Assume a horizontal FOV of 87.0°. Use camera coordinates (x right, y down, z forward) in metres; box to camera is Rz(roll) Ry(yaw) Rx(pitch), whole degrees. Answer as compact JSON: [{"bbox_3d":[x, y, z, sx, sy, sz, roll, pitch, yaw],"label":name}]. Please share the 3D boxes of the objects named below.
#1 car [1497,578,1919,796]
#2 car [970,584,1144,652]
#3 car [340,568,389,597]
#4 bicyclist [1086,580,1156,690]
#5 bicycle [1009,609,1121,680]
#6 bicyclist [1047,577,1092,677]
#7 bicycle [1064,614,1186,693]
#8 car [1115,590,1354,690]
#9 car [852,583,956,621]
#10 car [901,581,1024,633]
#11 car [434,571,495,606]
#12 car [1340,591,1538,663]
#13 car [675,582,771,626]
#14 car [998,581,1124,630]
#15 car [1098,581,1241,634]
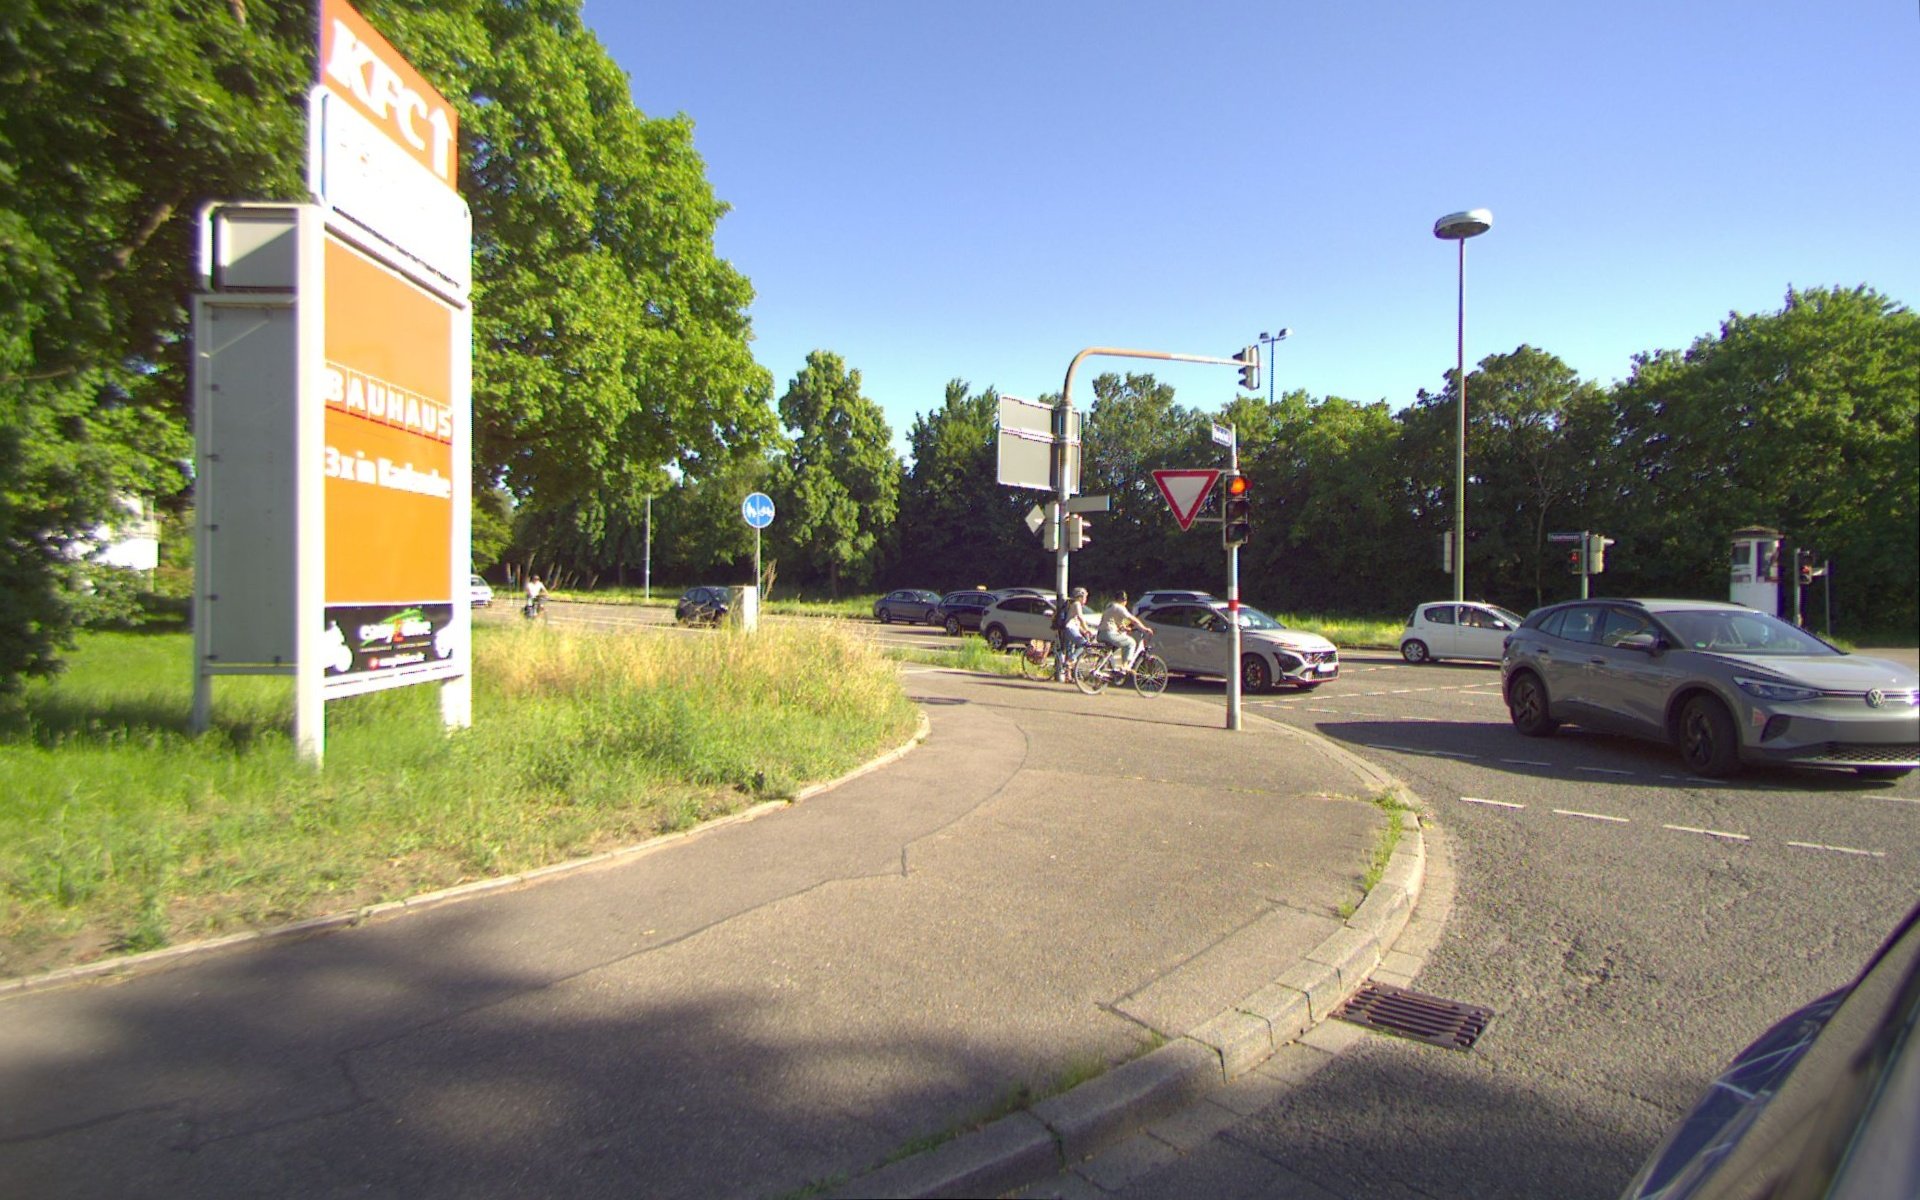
[{"bbox_3d":[7.705,0.668,10.454,1.956,1.660,4.367,0,3,0],"label":"car"},{"bbox_3d":[2.457,0.391,26.458,1.890,1.504,4.354,-3,4,-44],"label":"car"},{"bbox_3d":[-40.114,-1.207,68.167,3.900,1.820,1.813,2,3,44],"label":"car"},{"bbox_3d":[2.564,0.554,16.152,0.791,1.655,0.544,5,1,-24],"label":"bicyclist"},{"bbox_3d":[1.861,0.784,17.979,1.832,1.089,0.532,4,2,-6],"label":"bicycle"},{"bbox_3d":[1.936,0.466,17.982,0.574,1.717,0.528,4,2,-6],"label":"bicyclist"},{"bbox_3d":[2.626,0.855,16.073,1.831,1.089,0.532,5,1,-22],"label":"bicycle"},{"bbox_3d":[4.926,0.643,18.669,1.661,1.593,4.120,-2,1,-36],"label":"car"},{"bbox_3d":[-2.345,0.055,41.457,4.342,1.422,1.808,2,1,44],"label":"car"},{"bbox_3d":[0.051,0.200,34.103,3.977,1.559,1.603,2,3,37],"label":"car"},{"bbox_3d":[-27.186,-0.667,55.475,3.900,1.820,1.772,2,3,44],"label":"car"},{"bbox_3d":[11.211,0.564,23.832,3.900,1.458,1.666,2,2,44],"label":"car"},{"bbox_3d":[-8.921,0.099,37.985,3.900,1.457,1.667,2,3,44],"label":"car"},{"bbox_3d":[3.549,0.163,36.104,4.230,1.594,1.850,2,1,44],"label":"car"},{"bbox_3d":[6.667,0.201,32.548,4.182,1.557,1.807,2,1,44],"label":"car"}]
